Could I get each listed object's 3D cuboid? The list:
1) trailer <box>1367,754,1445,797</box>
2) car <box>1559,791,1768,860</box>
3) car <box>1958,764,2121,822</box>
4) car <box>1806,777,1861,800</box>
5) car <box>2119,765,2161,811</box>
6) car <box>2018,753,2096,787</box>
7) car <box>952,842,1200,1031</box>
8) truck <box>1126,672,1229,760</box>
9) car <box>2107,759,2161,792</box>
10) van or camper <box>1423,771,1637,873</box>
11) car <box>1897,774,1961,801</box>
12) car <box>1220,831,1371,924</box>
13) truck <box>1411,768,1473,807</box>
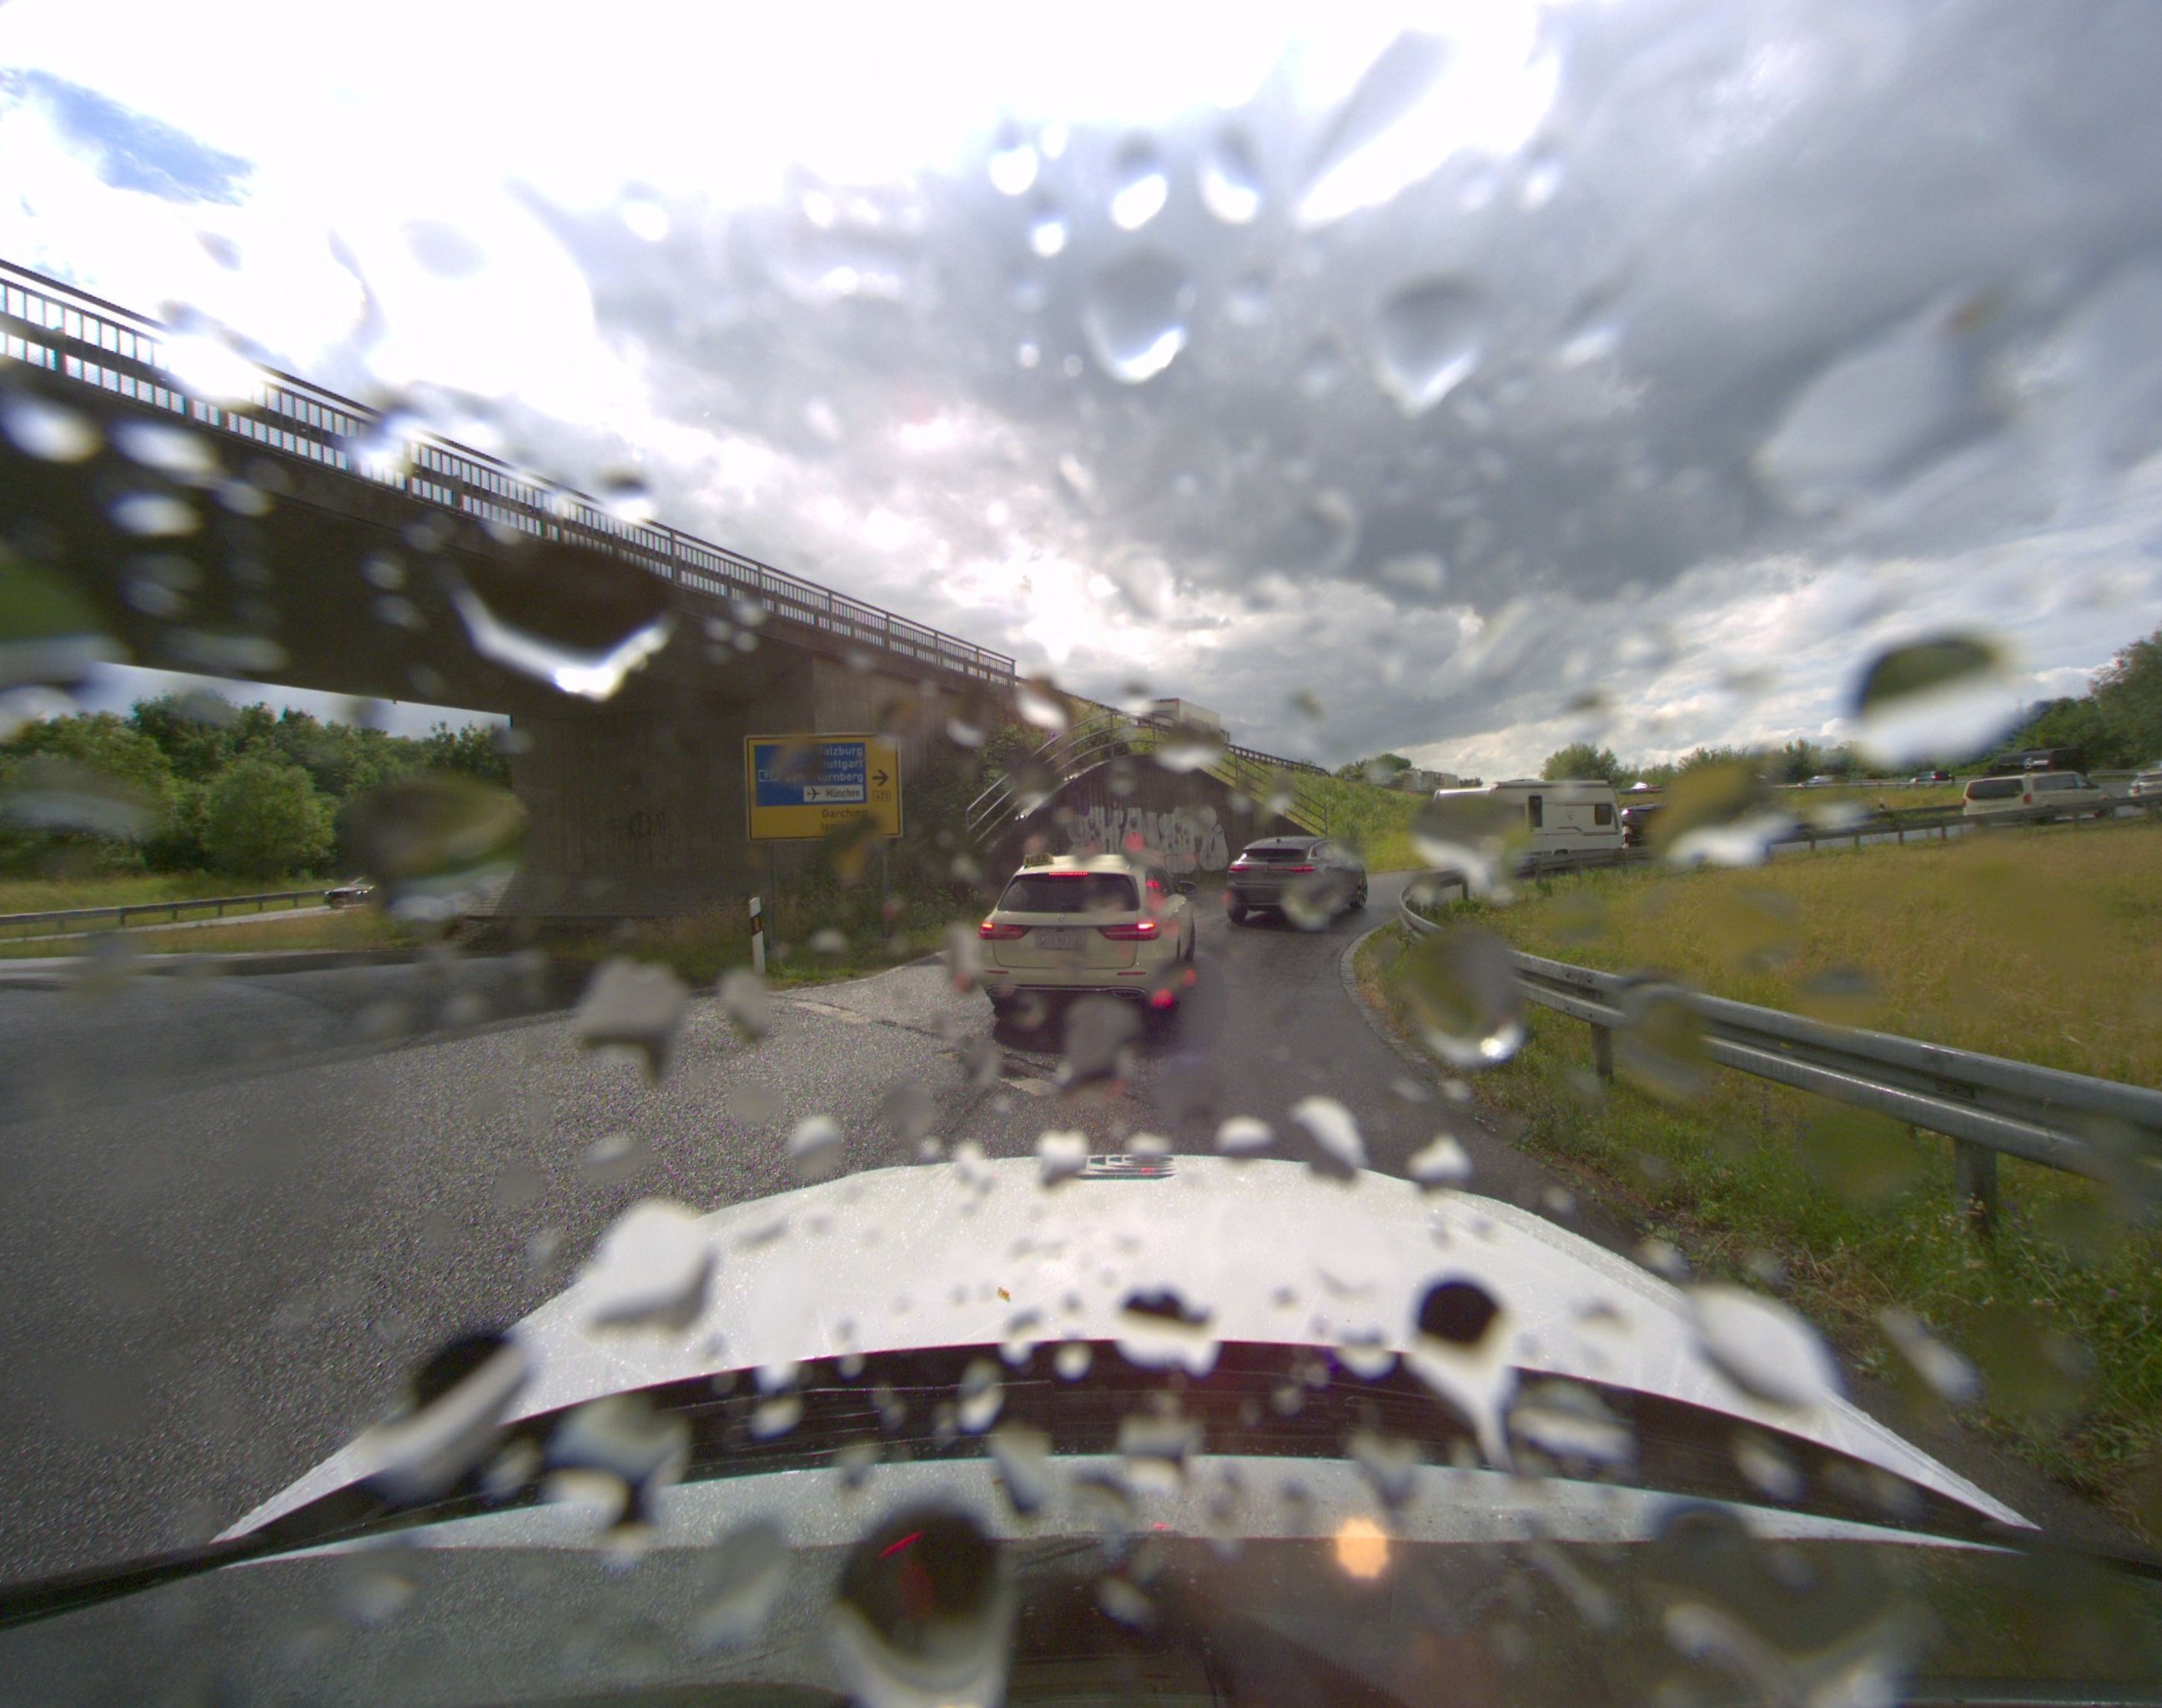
[{"bbox_3d":[42.444,-9.908,105.607,4.370,3.955,20.348,-1,0,36],"label":"trailer"},{"bbox_3d":[18.905,-0.952,26.517,5.750,1.925,2.425,-3,2,-14],"label":"car"},{"bbox_3d":[35.632,-2.258,30.303,5.051,1.861,1.990,-3,0,-16],"label":"car"},{"bbox_3d":[75.568,-6.572,81.853,1.986,2.013,4.002,-3,2,1],"label":"car"},{"bbox_3d":[47.601,-2.898,35.110,5.057,1.861,1.987,-3,1,-20],"label":"car"},{"bbox_3d":[71.812,-6.157,60.013,1.976,2.013,4.021,-1,0,21],"label":"car"},{"bbox_3d":[0.265,0.670,9.119,1.904,1.507,4.610,-1,1,10],"label":"car"},{"bbox_3d":[6.326,-8.504,51.679,3.150,3.966,9.294,-1,0,29],"label":"truck"},{"bbox_3d":[66.501,-4.909,50.377,1.645,1.784,5.087,-2,1,26],"label":"car"},{"bbox_3d":[13.679,-1.033,24.806,6.004,2.729,2.422,-3,3,-21],"label":"van or camper"},{"bbox_3d":[74.591,-5.839,71.715,1.980,2.013,4.013,-2,1,12],"label":"car"},{"bbox_3d":[4.203,0.331,15.520,1.701,1.524,4.026,1,2,31],"label":"car"},{"bbox_3d":[54.077,-9.674,121.465,4.417,4.503,19.500,-1,0,36],"label":"truck"}]
